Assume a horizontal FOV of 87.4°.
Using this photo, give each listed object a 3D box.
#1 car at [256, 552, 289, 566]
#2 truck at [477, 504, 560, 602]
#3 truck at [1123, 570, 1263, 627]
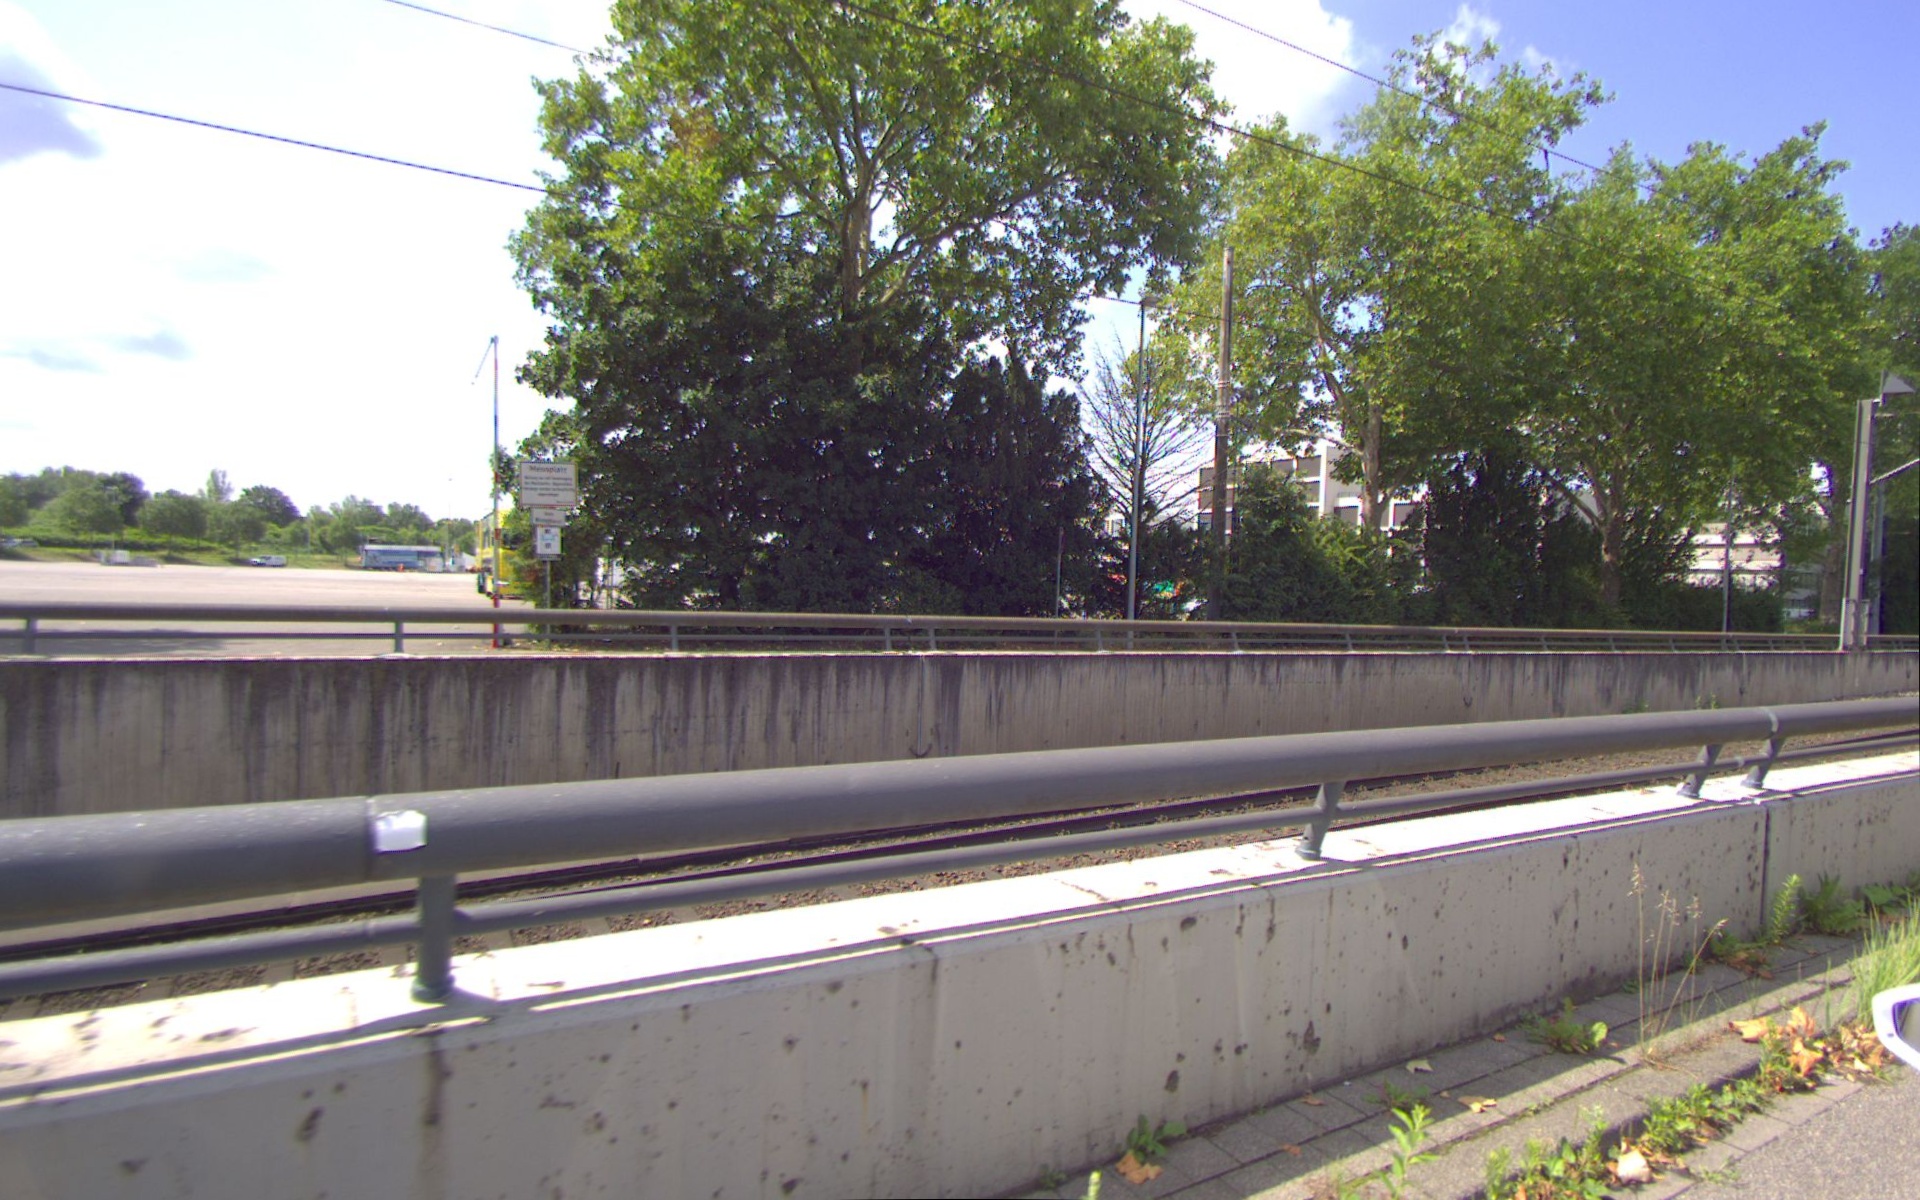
[{"bbox_3d":[-112.216,-6.727,163.928,1.962,2.040,3.998,2,-1,23],"label":"car"},{"bbox_3d":[-21.980,-2.079,49.521,2.714,4.128,12.736,2,-1,-28],"label":"truck"},{"bbox_3d":[12.648,-0.073,55.571,2.669,2.830,8.808,2,-1,-25],"label":"truck"}]
